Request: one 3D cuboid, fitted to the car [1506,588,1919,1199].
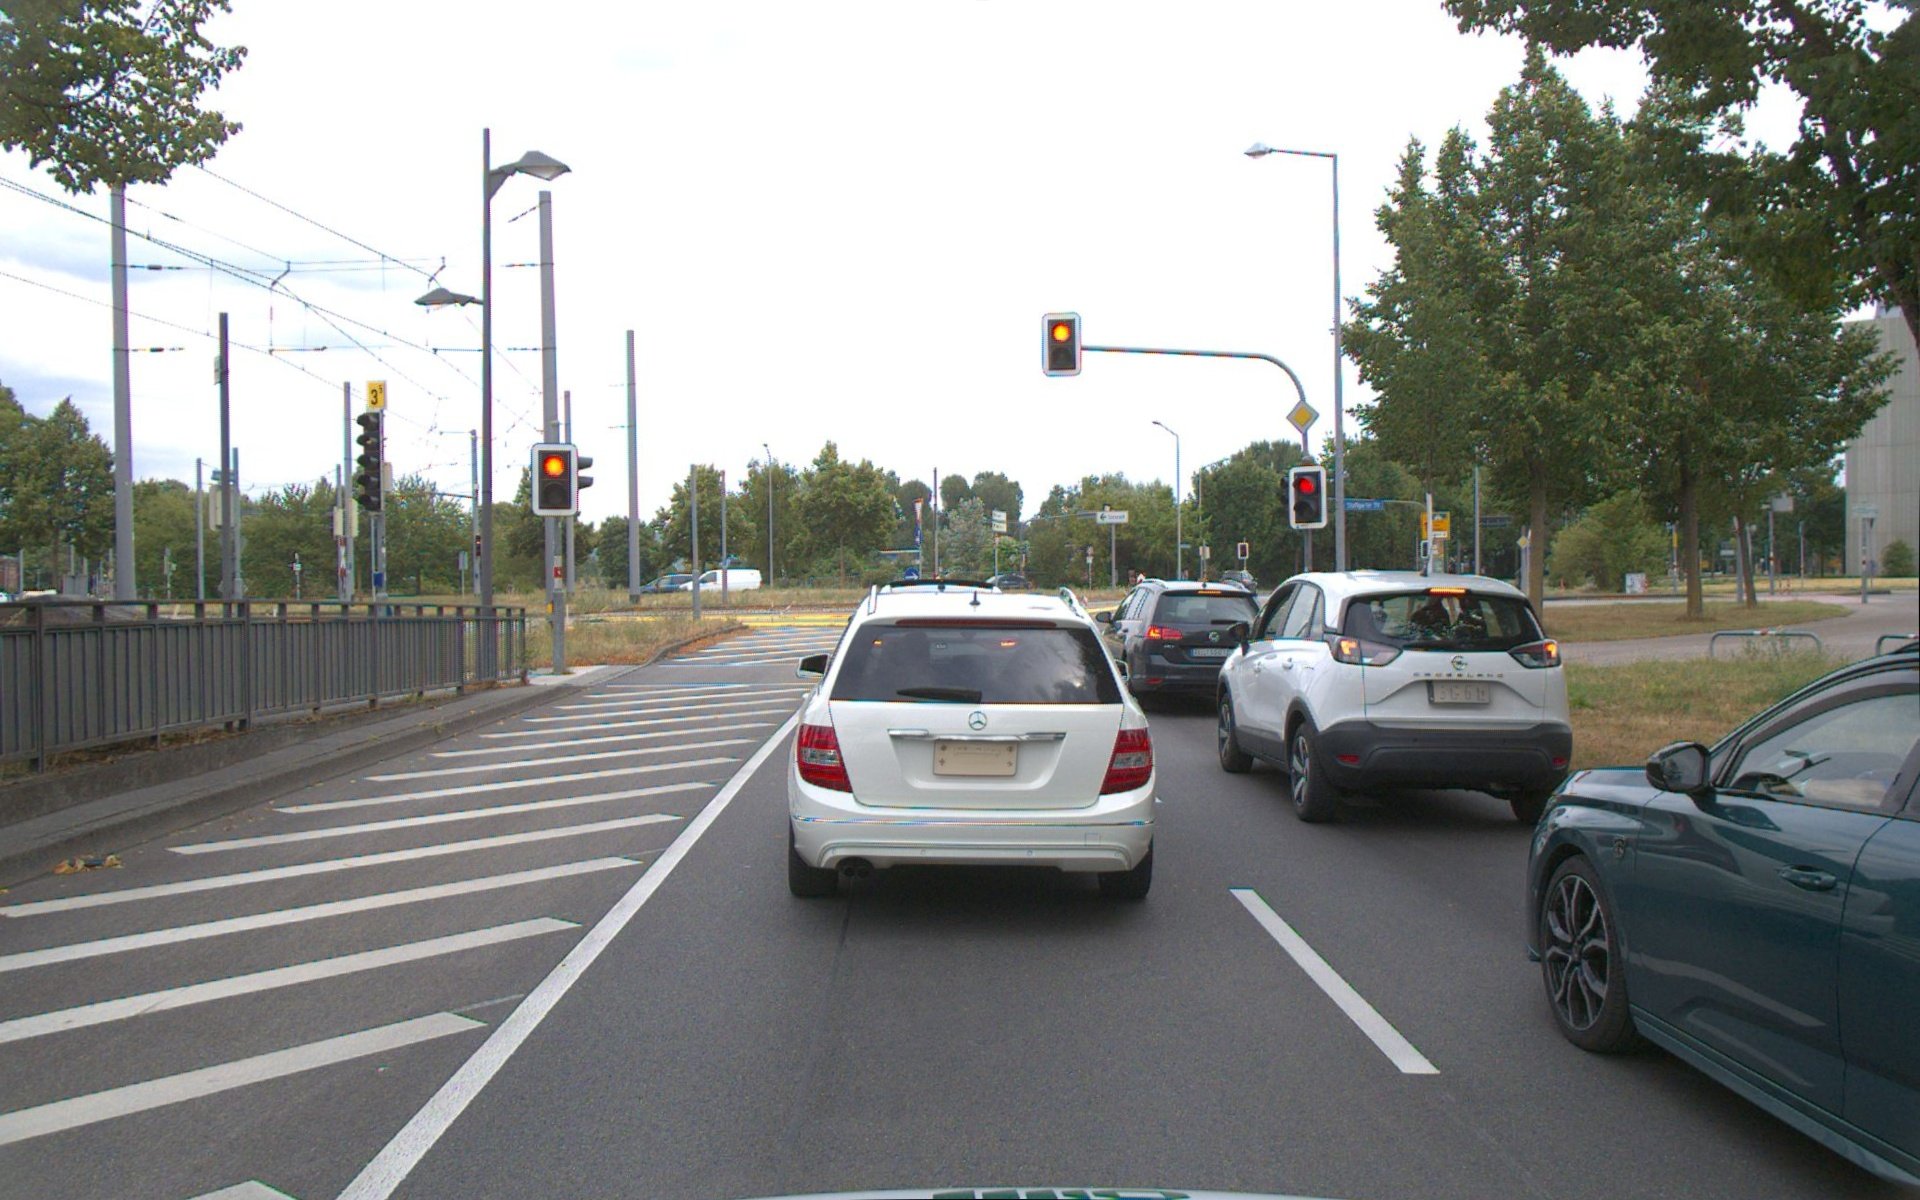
[{"bbox_3d":[3.034,0.723,4.001,1.752,1.457,4.308,0,1,-4],"label":"car"}]

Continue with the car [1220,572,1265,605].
[{"bbox_3d":[16.489,-0.639,96.472,1.952,1.822,4.002,2,0,18],"label":"car"}]

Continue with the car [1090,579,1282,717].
[{"bbox_3d":[2.605,0.499,19.883,1.592,1.474,3.908,1,1,-3],"label":"car"}]

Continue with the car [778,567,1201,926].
[{"bbox_3d":[0.040,0.588,8.783,1.738,1.474,3.908,1,1,-3],"label":"car"}]

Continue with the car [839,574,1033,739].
[{"bbox_3d":[-0.300,0.487,16.851,1.738,1.474,3.908,1,1,-3],"label":"car"}]

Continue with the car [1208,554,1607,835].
[{"bbox_3d":[2.977,0.542,11.855,1.751,1.653,3.910,-1,1,-1],"label":"car"}]

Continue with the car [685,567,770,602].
[{"bbox_3d":[-13.932,-0.946,98.940,4.897,2.049,1.994,-1,1,-13],"label":"car"}]

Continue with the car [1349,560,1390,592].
[{"bbox_3d":[21.826,-1.301,88.270,1.745,1.664,4.406,0,1,9],"label":"car"}]
